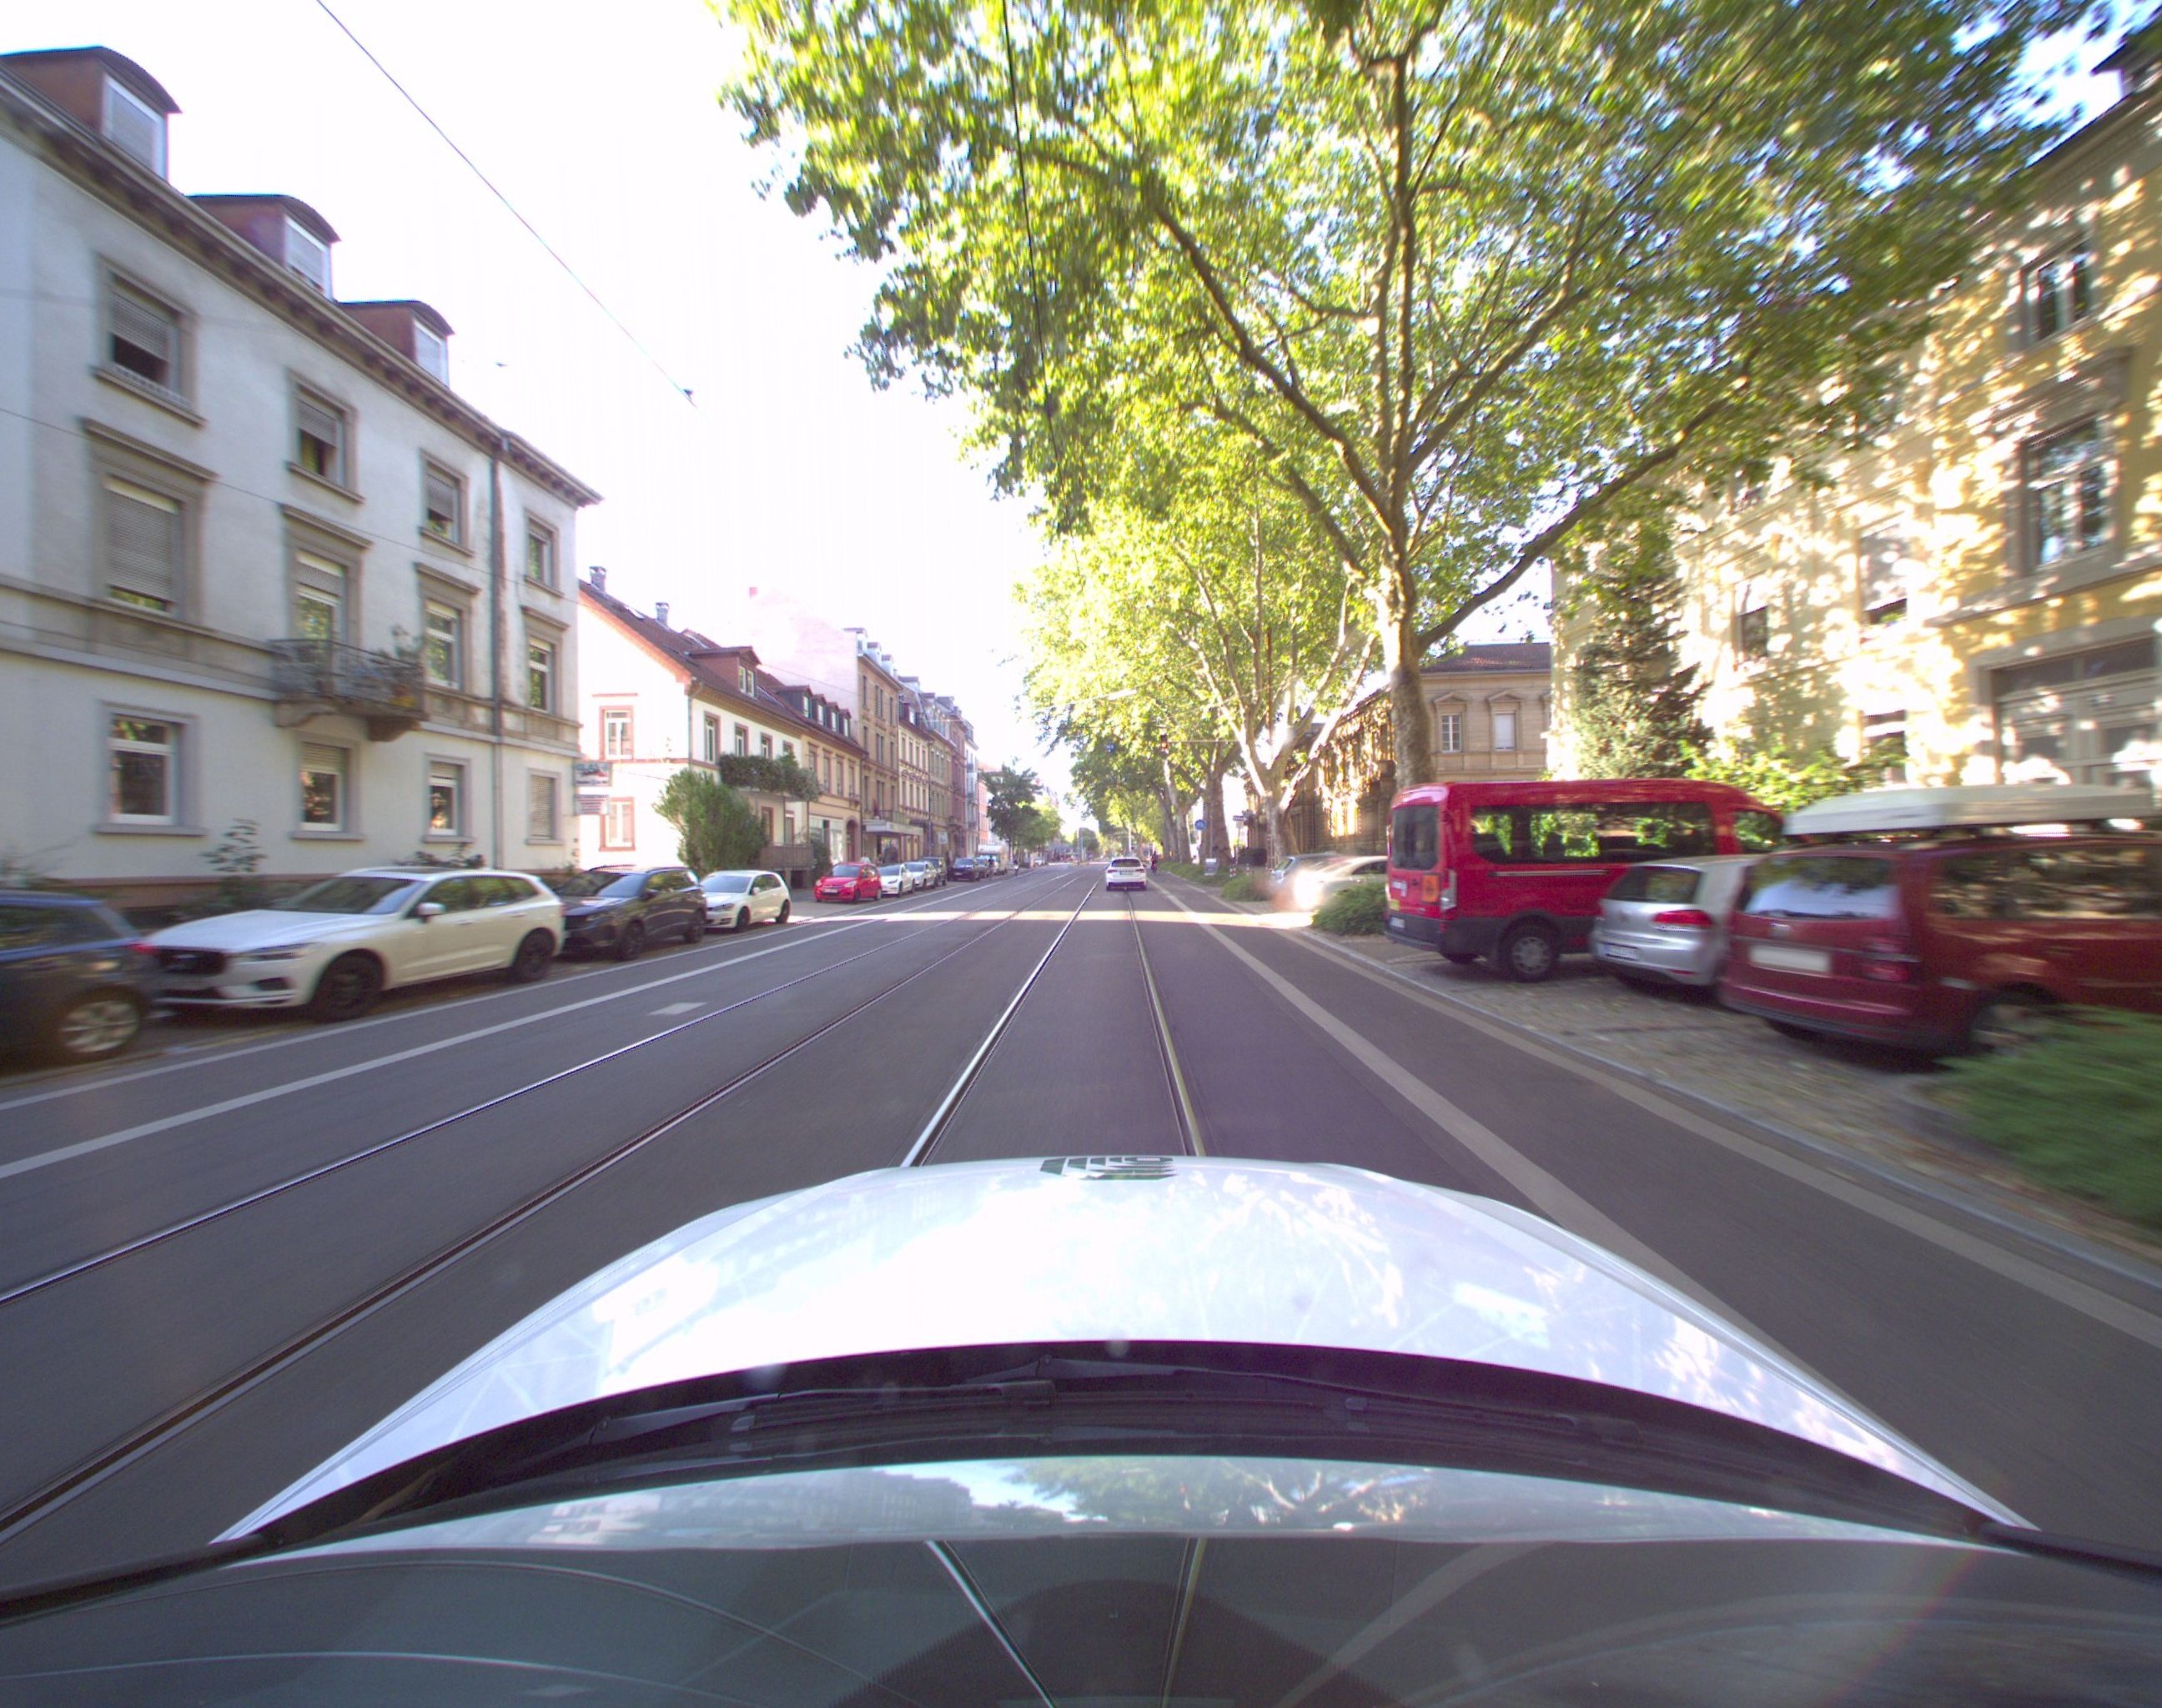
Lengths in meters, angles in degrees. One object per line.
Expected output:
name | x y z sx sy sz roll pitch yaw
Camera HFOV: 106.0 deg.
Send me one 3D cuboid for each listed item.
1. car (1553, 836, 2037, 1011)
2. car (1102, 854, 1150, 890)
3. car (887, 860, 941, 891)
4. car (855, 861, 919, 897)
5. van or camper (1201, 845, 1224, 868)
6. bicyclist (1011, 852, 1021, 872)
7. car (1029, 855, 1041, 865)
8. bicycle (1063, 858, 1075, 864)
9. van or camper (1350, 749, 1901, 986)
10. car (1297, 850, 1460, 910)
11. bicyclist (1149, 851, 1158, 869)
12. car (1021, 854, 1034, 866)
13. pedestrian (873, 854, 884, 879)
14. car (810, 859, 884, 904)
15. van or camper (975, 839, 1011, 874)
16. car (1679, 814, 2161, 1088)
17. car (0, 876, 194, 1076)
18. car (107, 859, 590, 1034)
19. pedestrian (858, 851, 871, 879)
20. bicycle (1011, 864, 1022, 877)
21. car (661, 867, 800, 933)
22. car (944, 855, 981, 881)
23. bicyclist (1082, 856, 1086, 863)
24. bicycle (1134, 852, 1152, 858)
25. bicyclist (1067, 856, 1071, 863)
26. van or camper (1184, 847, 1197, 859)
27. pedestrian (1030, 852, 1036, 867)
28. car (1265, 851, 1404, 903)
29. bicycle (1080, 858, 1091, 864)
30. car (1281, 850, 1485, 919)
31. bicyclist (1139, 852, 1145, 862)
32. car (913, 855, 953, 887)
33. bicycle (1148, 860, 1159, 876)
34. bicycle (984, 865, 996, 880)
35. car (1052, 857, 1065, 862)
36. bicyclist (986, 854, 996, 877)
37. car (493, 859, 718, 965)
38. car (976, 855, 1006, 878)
car | 7.366 0.662 8.661 3.724 1.530 1.668 -2 0 -2
car | 1.895 0.751 35.392 1.837 1.480 3.837 0 0 -1
car | -8.597 1.067 42.167 1.821 1.502 4.450 0 0 1
car | -8.660 1.088 36.804 1.821 1.502 4.687 0 0 -1
van or camper | 14.655 0.306 91.089 2.018 2.464 5.113 0 0 4
bicyclist | -5.034 0.637 63.245 0.635 1.503 1.070 -2 -1 2
car | -7.914 1.065 140.027 1.788 1.726 3.784 0 0 0
bicycle | -2.632 1.580 183.275 2.699 1.327 0.609 -1 0 -33
van or camper | 6.915 0.142 10.876 5.798 2.519 2.287 -3 1 -1
car | 7.965 0.675 21.976 3.744 1.387 1.679 -3 0 -5
bicyclist | 5.374 0.472 60.485 0.676 1.339 0.525 0 -1 1
car | -7.591 0.885 115.801 1.636 1.726 3.784 0 0 0
pedestrian | -12.027 0.742 48.435 0.636 1.460 0.654 0 -1 -15
car | -8.983 1.016 31.558 1.561 1.562 3.454 -1 0 5
van or camper | -8.177 0.269 76.690 2.207 3.140 7.119 0 0 3
car | 7.067 0.581 6.117 3.808 1.649 1.766 -3 -2 -2
car | -9.209 0.981 5.691 1.547 1.515 3.928 -2 0 4
car | -8.890 0.953 10.658 1.849 1.703 4.765 -2 0 2
pedestrian | -12.794 0.656 48.151 0.773 1.634 0.654 0 -1 -15
bicycle | -4.998 1.277 63.321 0.497 0.943 1.923 -3 0 3
car | -8.982 1.121 21.269 1.680 1.477 4.259 0 0 1
car | -8.474 0.966 58.666 1.958 1.781 4.936 2 0 0
bicyclist | 0.722 1.250 185.109 0.635 1.522 0.603 -2 1 -33
bicycle | 9.815 0.116 129.542 2.749 0.999 0.595 0 -1 16
bicyclist | -2.633 1.158 183.293 0.635 1.522 0.603 -2 1 -33
van or camper | 21.022 -0.151 156.394 1.986 2.343 4.002 0 0 2
pedestrian | -6.442 0.702 109.604 0.598 2.002 0.751 0 0 6
car | 7.624 0.681 24.768 3.737 1.508 1.682 0 0 1
bicycle | 1.053 1.559 185.306 2.699 1.327 0.609 -1 0 -33
car | 7.186 0.701 19.698 4.268 1.417 1.761 -3 0 2
bicyclist | 9.725 0.499 129.580 0.731 1.589 0.589 -2 0 13
car | -8.374 0.934 46.373 1.550 1.732 3.686 0 0 1
bicycle | 5.361 1.039 60.212 0.677 1.155 2.965 0 0 2
bicycle | -6.671 1.322 59.880 0.482 1.047 2.041 -3 0 3
car | -7.244 1.763 260.656 3.772 1.818 1.807 0 0 7
bicyclist | -6.634 0.855 59.925 0.533 1.634 0.897 -3 -1 3
car | -8.980 0.983 15.944 1.853 1.703 4.653 -1 0 -4
car | -7.334 1.007 66.969 1.958 1.781 4.470 0 0 0
